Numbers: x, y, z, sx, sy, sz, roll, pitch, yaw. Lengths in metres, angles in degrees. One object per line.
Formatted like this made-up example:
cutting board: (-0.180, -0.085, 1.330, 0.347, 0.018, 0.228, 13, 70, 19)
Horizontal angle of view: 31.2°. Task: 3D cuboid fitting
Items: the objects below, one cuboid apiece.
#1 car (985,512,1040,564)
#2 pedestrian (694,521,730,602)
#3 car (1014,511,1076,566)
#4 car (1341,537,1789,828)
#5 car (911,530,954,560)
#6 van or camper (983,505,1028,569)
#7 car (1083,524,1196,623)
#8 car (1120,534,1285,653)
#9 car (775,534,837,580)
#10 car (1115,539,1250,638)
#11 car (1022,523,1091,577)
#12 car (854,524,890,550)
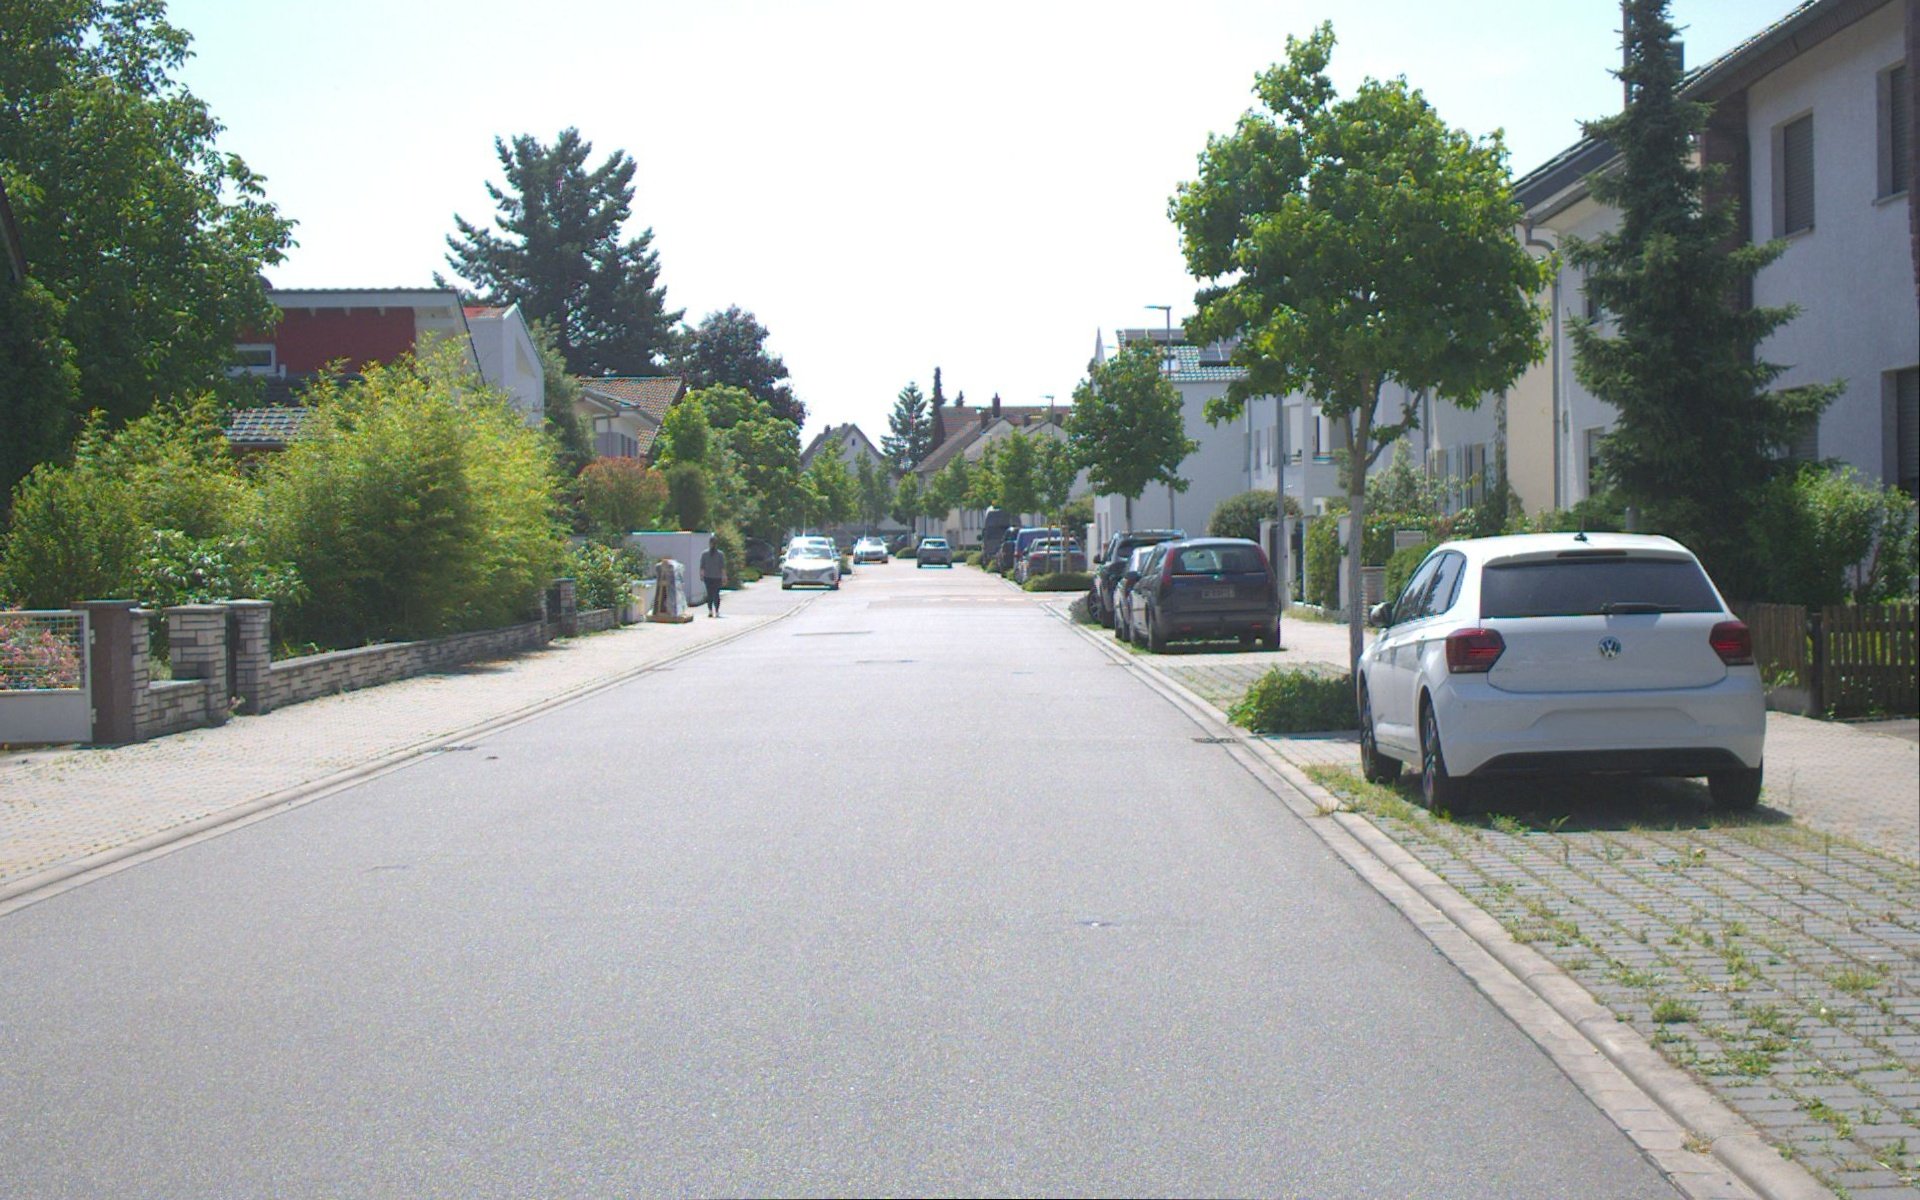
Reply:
car: (2.062, -2.453, 136.337, 1.993, 1.940, 5.215, -2, 1, 0)
pedestrian: (-5.340, -0.828, 74.106, 0.714, 1.741, 0.961, 0, 1, 0)
car: (2.976, -2.176, 121.682, 2.099, 1.875, 4.843, -1, 1, 1)
car: (3.218, 0.375, 19.008, 1.814, 1.415, 3.868, -1, 1, 0)
car: (-1.322, -2.721, 168.740, 1.993, 1.425, 4.000, 0, 1, 1)
van or camper: (2.127, -2.955, 160.797, 1.993, 2.931, 4.000, -1, 1, -1)
car: (3.178, -0.510, 61.628, 1.814, 1.650, 4.564, -1, 2, 0)
car: (3.227, -0.123, 46.543, 1.741, 1.528, 4.449, -1, 1, -2)
car: (-5.070, -1.427, 113.463, 1.852, 1.483, 4.385, -1, 1, 0)
car: (3.349, -0.206, 52.337, 1.814, 1.415, 4.093, -1, 1, 0)
car: (2.937, -1.535, 105.043, 1.773, 1.590, 4.280, -1, 1, -3)
car: (-5.097, -3.694, 200.238, 1.853, 1.473, 4.700, -1, 1, 1)
